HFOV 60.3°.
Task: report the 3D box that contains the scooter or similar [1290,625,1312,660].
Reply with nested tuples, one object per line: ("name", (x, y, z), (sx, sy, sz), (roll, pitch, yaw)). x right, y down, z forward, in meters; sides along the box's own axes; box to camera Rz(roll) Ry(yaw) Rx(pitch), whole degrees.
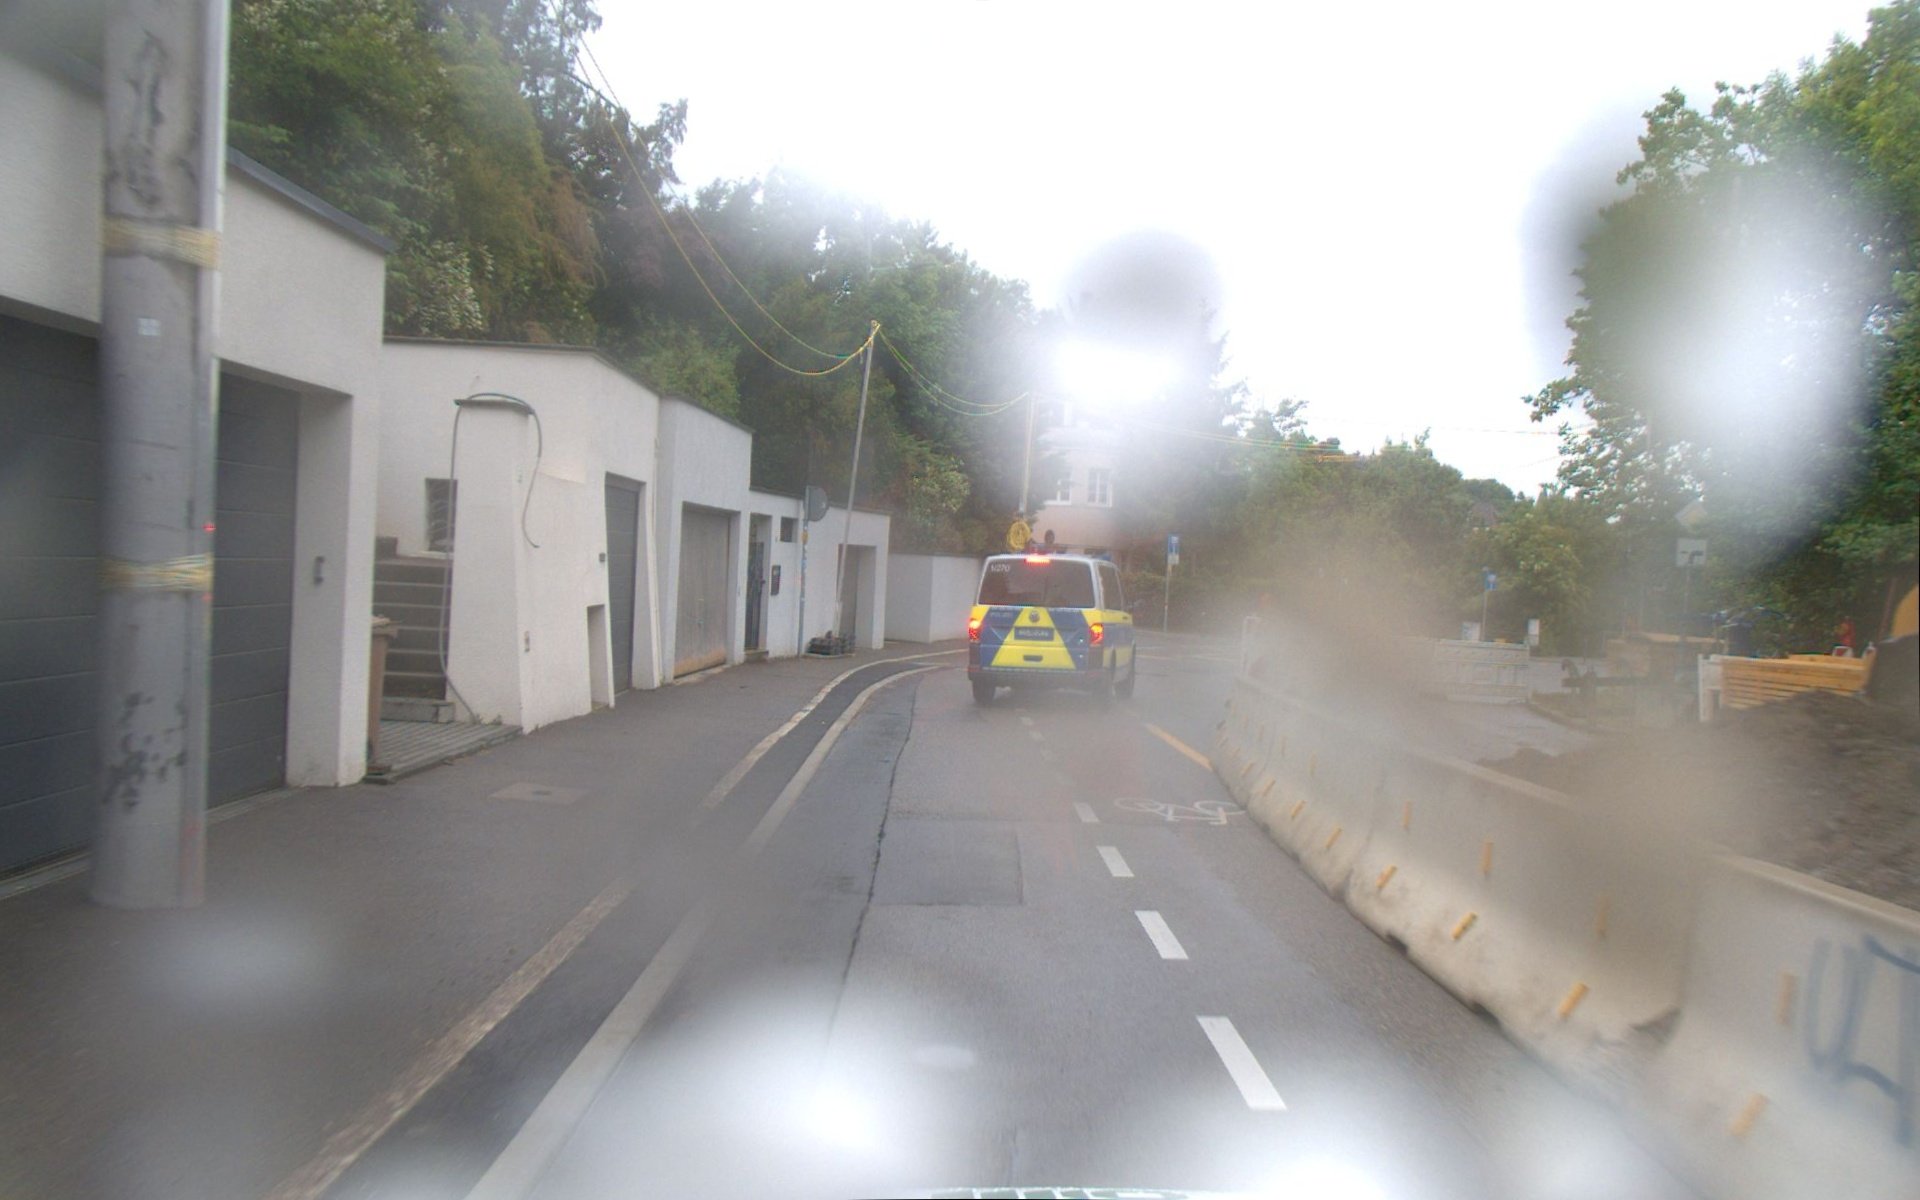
("scooter or similar", (11.993, 1.489, 58.181), (0.455, 1.207, 1.025), (4, -1, 1))

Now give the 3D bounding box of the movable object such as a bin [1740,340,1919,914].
("movable object such as a bin", (6.409, 0.201, 8.154), (2.443, 3.128, 5.589), (4, -1, 2))

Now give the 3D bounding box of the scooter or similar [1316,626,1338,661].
("scooter or similar", (12.825, 1.509, 57.803), (0.455, 1.164, 0.995), (4, -1, 0))

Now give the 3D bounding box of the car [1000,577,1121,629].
("car", (3.614, 0.098, 59.530), (3.914, 1.543, 1.724), (4, -1, 30))

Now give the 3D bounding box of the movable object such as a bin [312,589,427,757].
("movable object such as a bin", (-3.867, 0.472, 10.861), (0.493, 1.039, 0.522), (4, -1, -1))

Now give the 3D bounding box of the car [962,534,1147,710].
("car", (1.415, 0.321, 22.842), (1.868, 2.045, 4.443), (4, -1, 10))
